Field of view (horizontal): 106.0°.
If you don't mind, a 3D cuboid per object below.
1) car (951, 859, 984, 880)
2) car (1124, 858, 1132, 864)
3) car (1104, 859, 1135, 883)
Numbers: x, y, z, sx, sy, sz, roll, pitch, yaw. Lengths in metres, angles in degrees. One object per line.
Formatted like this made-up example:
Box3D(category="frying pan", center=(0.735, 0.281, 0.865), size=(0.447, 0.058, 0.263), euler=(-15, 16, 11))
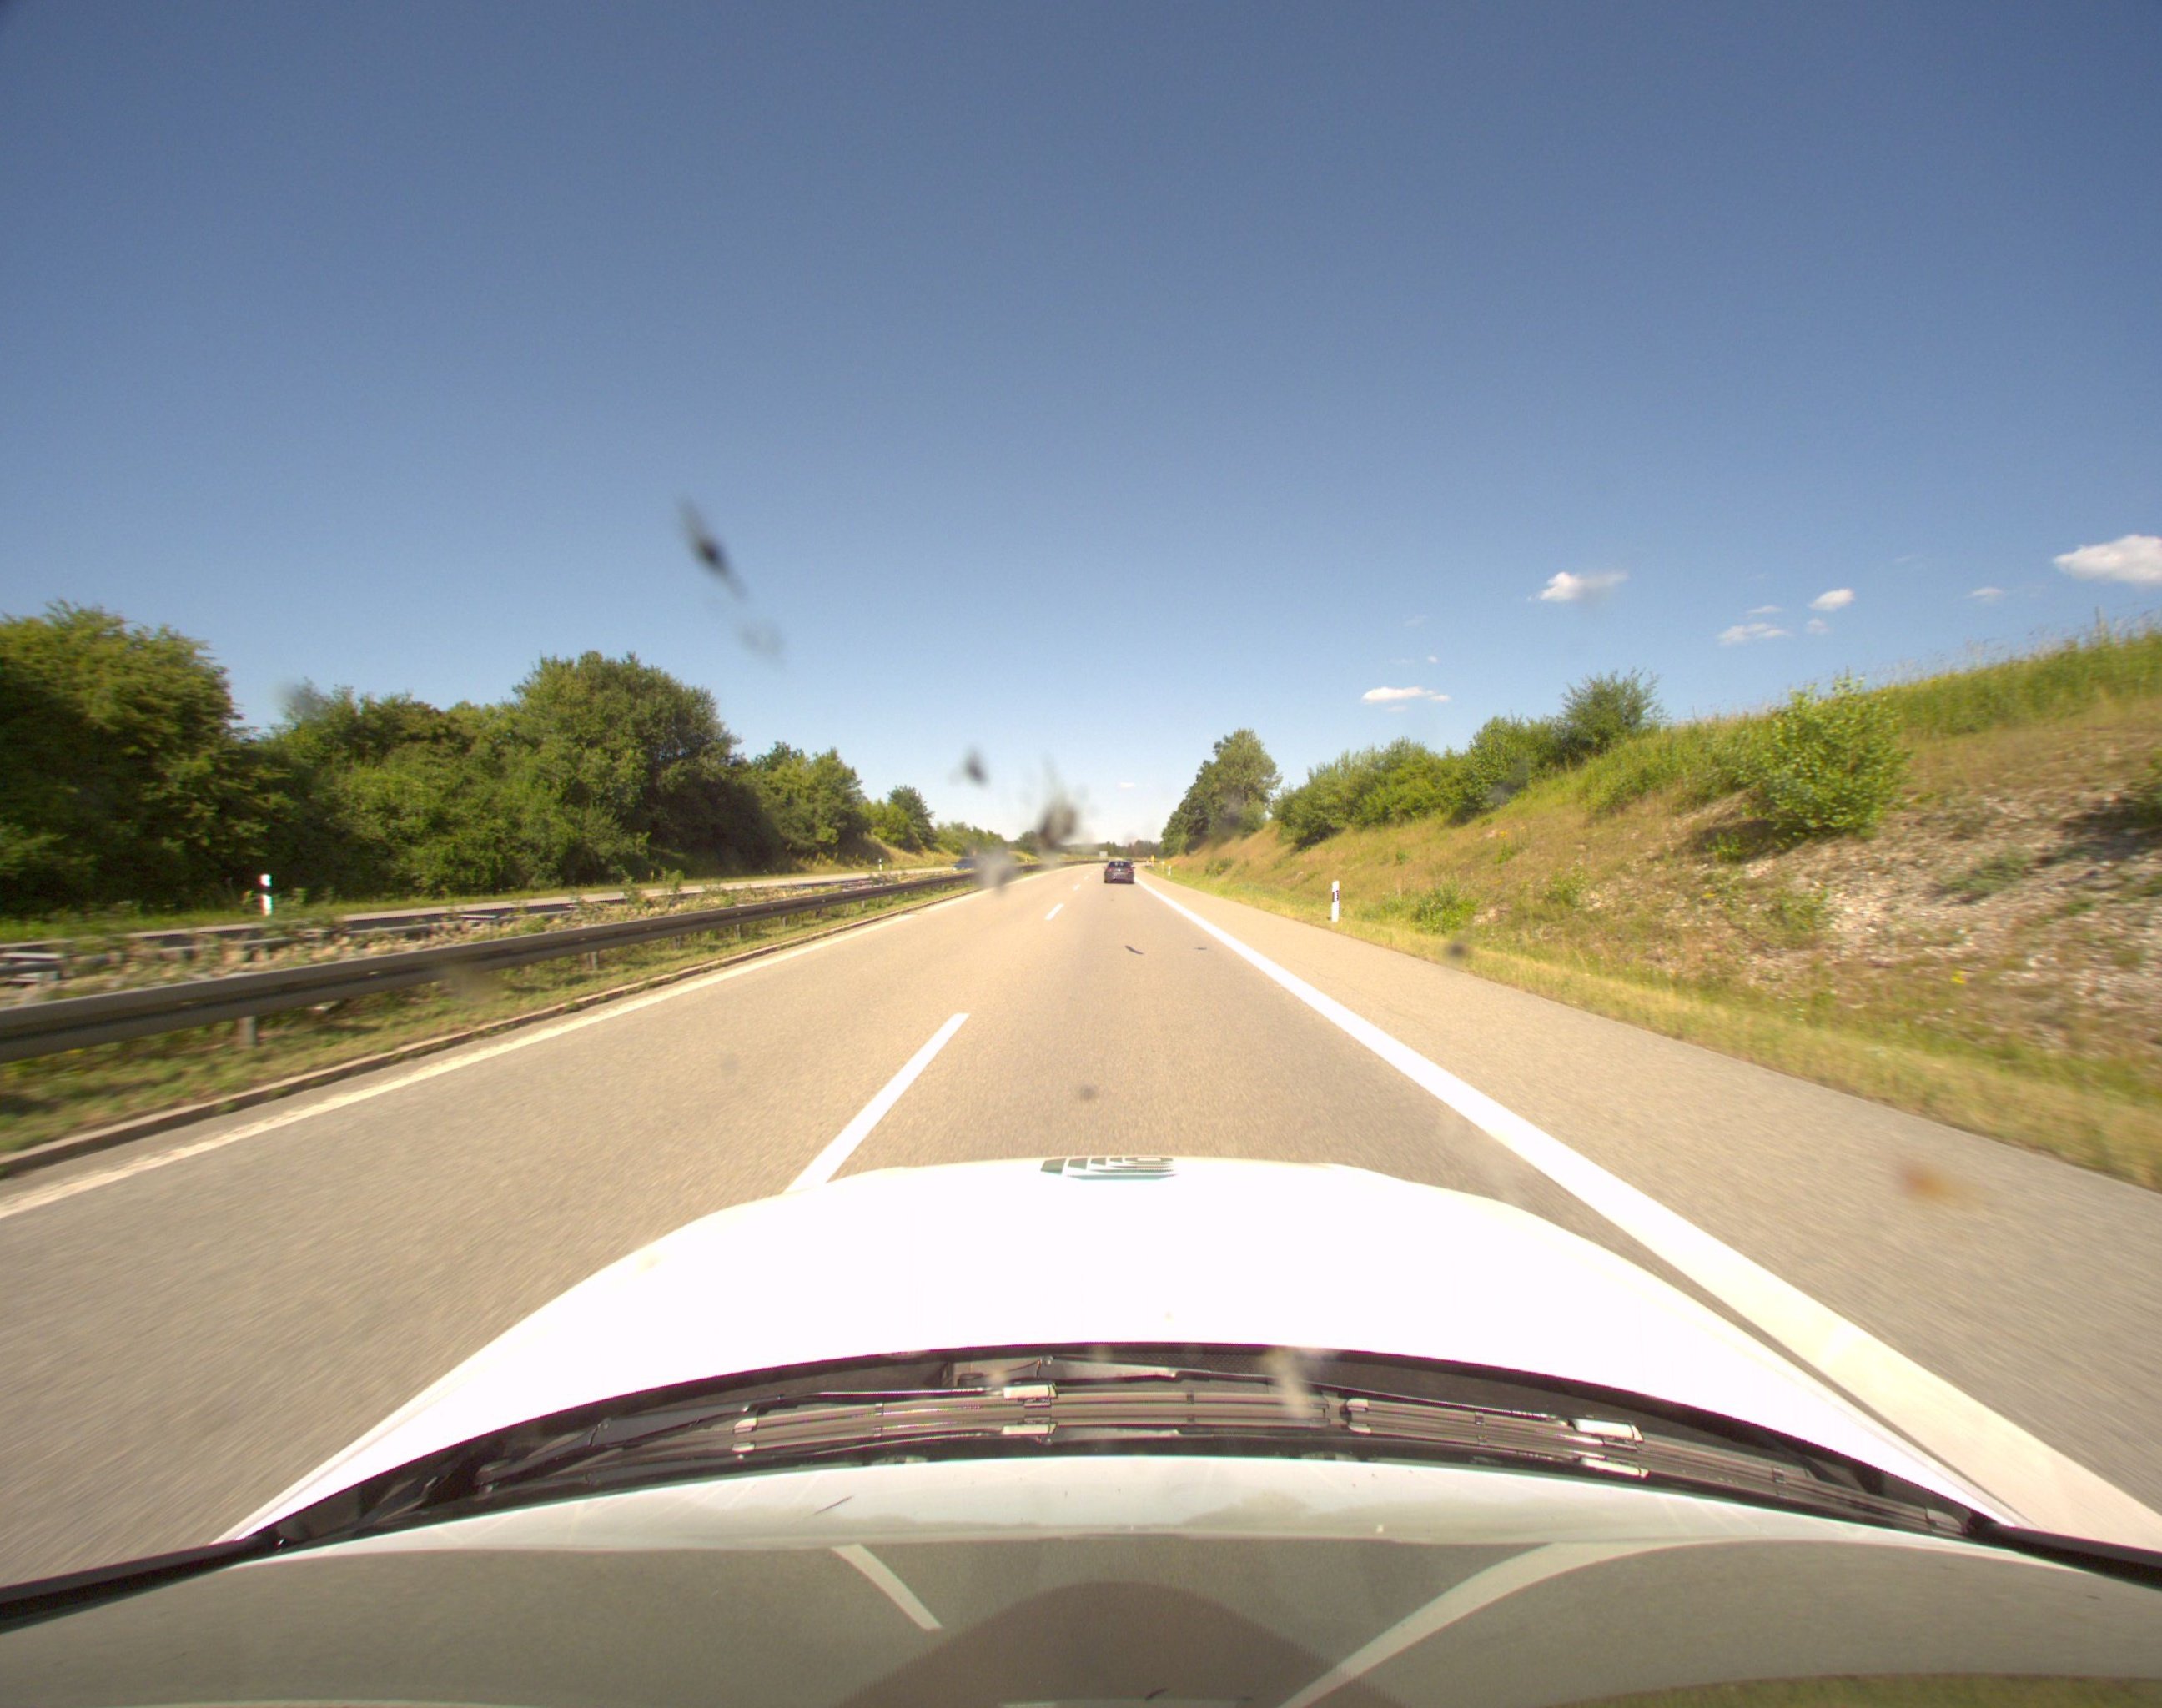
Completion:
Box3D(category="car", center=(-8.466, 1.133, 61.118), size=(1.761, 1.494, 4.230), euler=(-1, -1, 2))
Box3D(category="car", center=(11.390, 1.728, 195.802), size=(1.704, 1.387, 3.356), euler=(4, -1, 2))
Box3D(category="car", center=(2.300, 0.978, 49.205), size=(1.784, 1.344, 4.002), euler=(1, 0, 2))
